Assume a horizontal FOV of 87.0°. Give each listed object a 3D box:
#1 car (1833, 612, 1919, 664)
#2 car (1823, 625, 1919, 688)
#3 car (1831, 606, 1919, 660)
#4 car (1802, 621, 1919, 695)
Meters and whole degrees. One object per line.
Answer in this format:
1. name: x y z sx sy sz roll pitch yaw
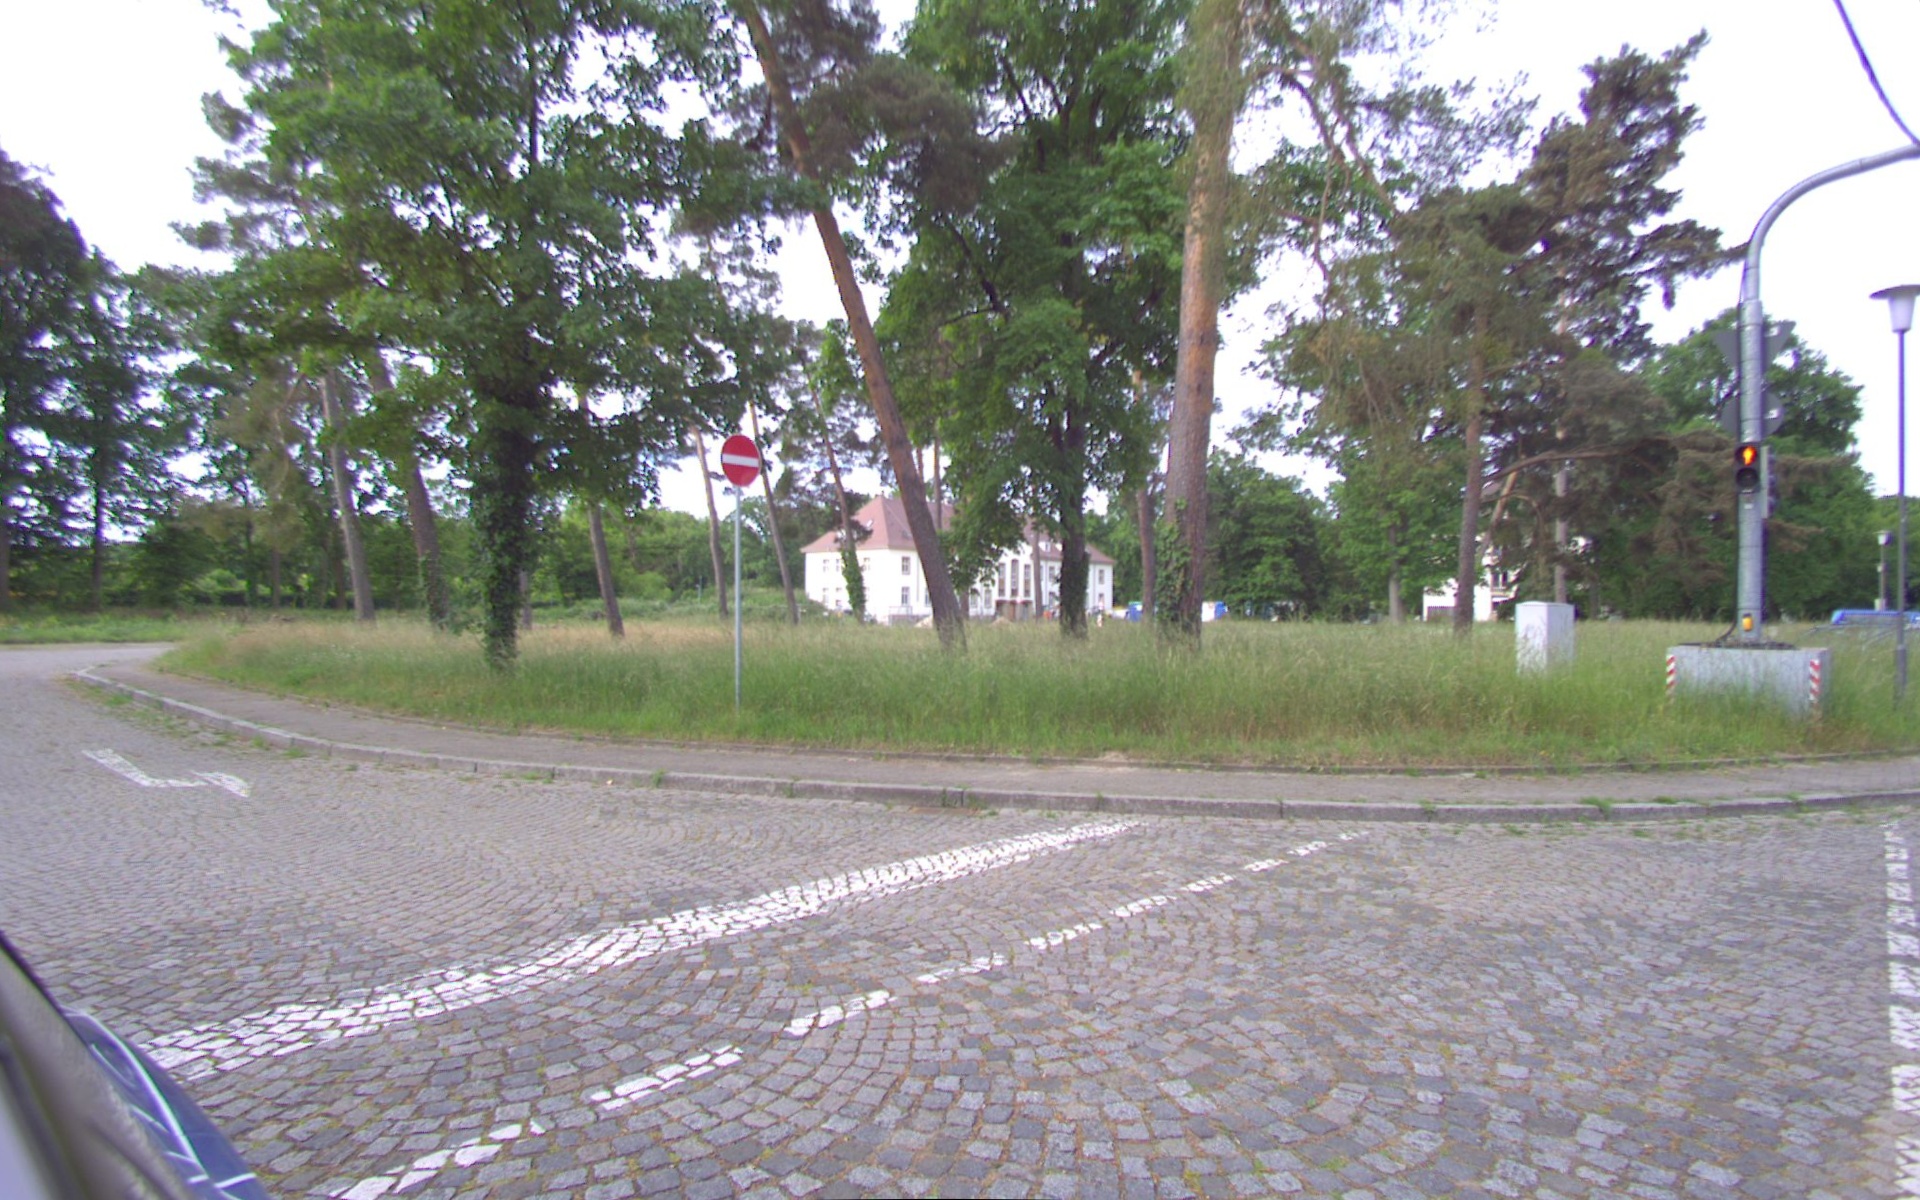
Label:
1. car: 32.372 1.277 34.387 4.002 1.727 1.666 -2 -2 45
2. car: 21.945 1.266 22.605 4.001 1.364 1.666 0 -1 44
3. car: 36.000 1.220 38.098 4.794 1.996 1.969 -2 -2 43
4. car: 20.149 1.191 21.066 3.999 1.483 1.667 0 -1 42
